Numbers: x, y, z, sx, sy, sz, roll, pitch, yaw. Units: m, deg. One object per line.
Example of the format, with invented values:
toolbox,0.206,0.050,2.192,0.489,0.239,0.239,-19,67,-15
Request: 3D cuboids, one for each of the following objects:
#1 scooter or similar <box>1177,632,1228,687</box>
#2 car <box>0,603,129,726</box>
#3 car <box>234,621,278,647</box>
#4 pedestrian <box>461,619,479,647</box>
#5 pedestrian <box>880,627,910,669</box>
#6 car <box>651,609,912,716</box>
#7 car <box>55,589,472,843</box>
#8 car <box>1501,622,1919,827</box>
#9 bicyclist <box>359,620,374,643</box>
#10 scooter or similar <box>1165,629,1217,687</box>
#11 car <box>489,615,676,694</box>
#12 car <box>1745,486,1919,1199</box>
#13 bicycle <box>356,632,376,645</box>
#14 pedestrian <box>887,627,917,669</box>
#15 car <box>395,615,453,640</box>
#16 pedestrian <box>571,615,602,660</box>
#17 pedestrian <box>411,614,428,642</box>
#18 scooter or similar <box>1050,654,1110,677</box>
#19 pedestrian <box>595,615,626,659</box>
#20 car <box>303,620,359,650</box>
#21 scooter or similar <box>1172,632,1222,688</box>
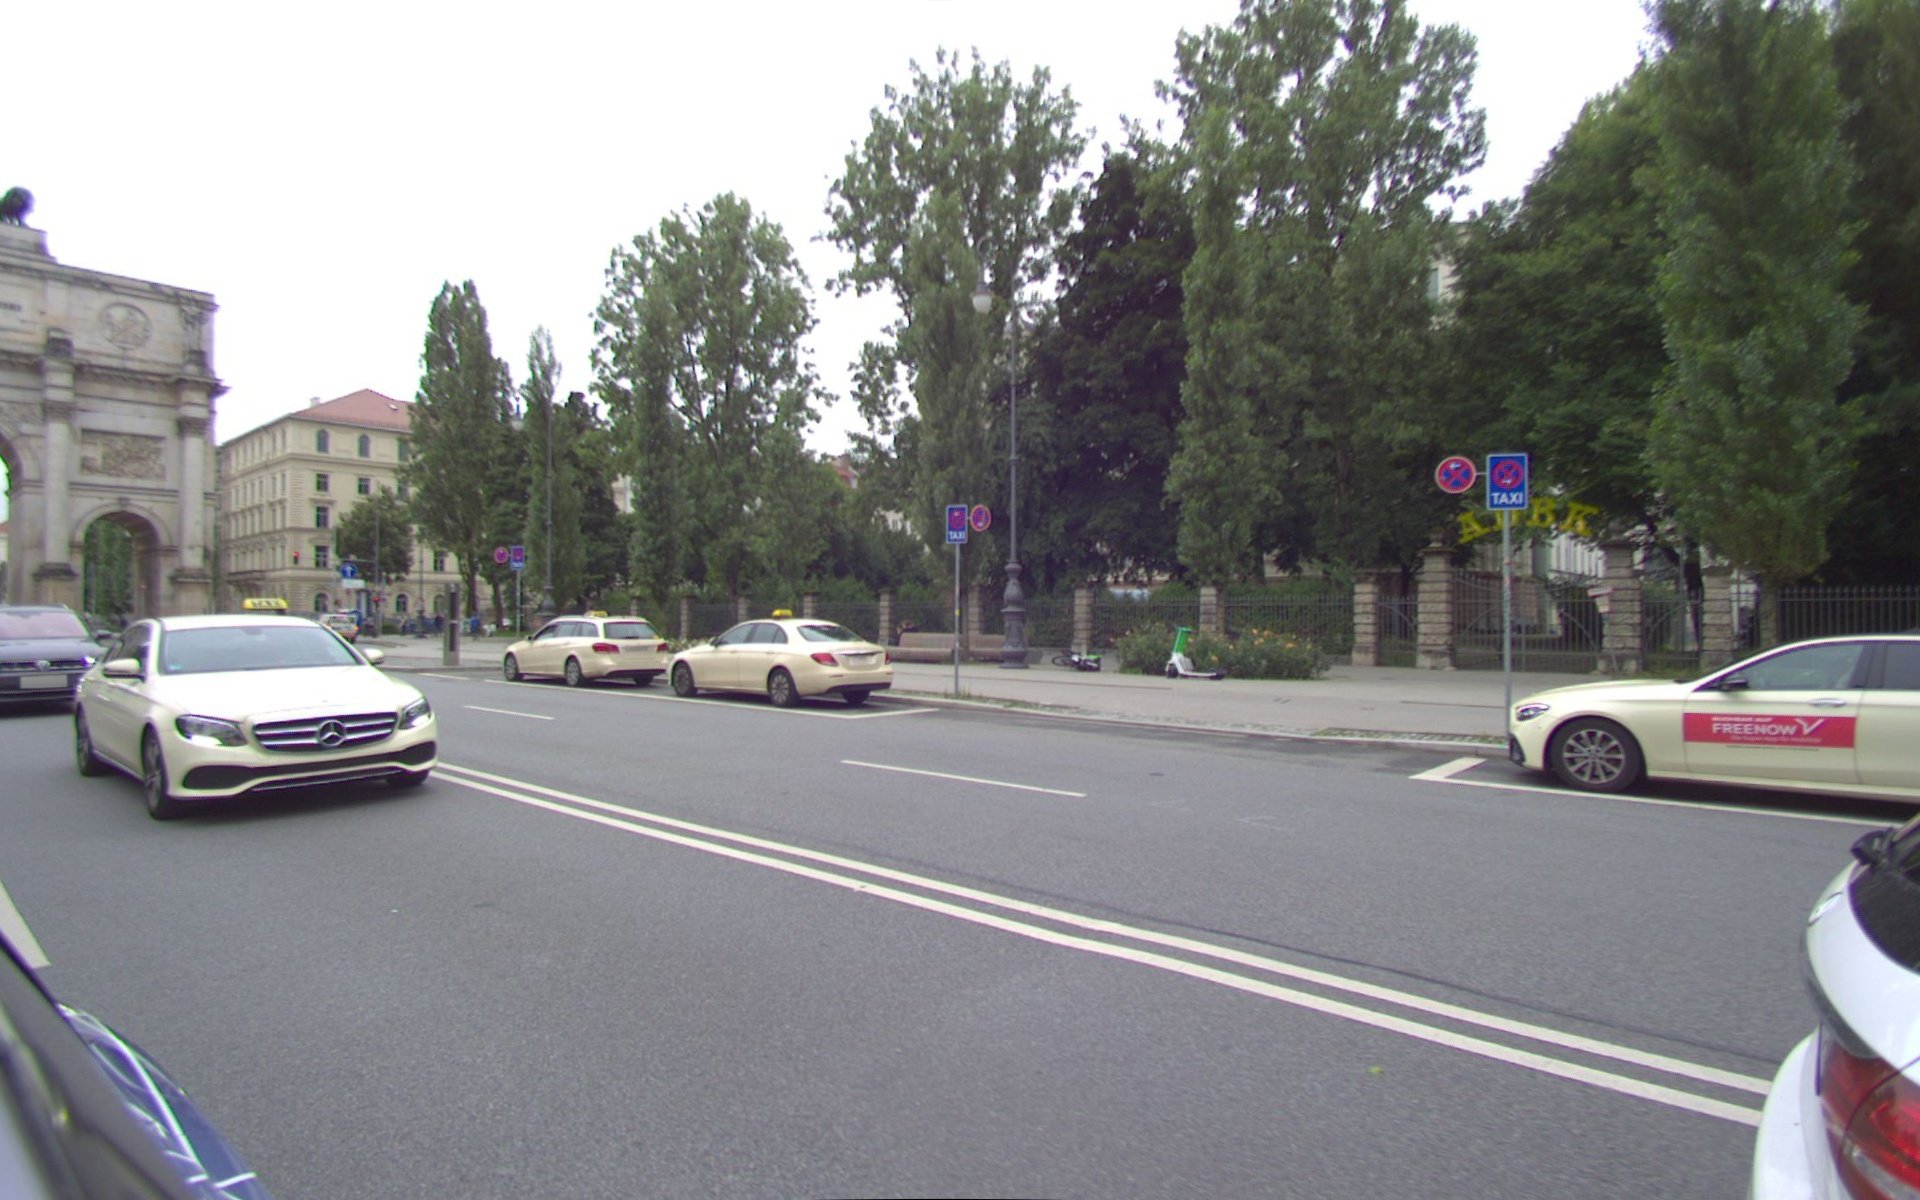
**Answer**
scooter or similar,5.467,1.335,22.833,1.122,1.210,0.240,-1,-2,42
car,-14.460,0.909,15.554,4.410,1.636,1.928,-1,1,42
car,-46.367,2.203,66.608,1.760,1.684,4.003,1,-2,-44
pedestrian,-32.121,2.167,66.346,0.745,1.799,0.914,0,-2,5
pedestrian,-2.088,1.551,32.698,0.832,1.347,0.574,-1,-2,16
car,-3.303,1.011,18.075,4.963,1.637,1.917,0,-2,42
car,-6.169,0.752,8.713,4.688,1.587,1.894,-1,1,42
car,7.416,0.949,8.449,4.789,1.508,1.910,-2,-3,43
bicyclist,-44.614,2.366,76.066,0.858,1.723,0.636,-1,-2,35
scooter or similar,5.113,1.281,22.441,1.141,1.251,0.255,-1,-2,43
car,-8.513,1.162,22.604,4.857,1.571,1.799,-1,-3,41
car,3.135,0.592,0.221,4.581,1.465,1.806,-1,0,42
bicycle,-44.707,2.911,76.128,1.758,0.981,0.636,-1,-2,36
pedestrian,-1.903,1.577,33.312,0.832,1.347,0.574,-1,-2,15
car,-45.135,2.329,85.267,1.999,2.029,3.945,-1,-2,41
pedestrian,-14.374,1.421,38.926,0.834,1.691,0.968,1,-2,-42
pedestrian,-39.390,2.064,73.732,0.747,2.029,0.793,0,-1,7
scooter or similar,3.144,1.716,26.734,1.314,0.522,2.236,0,-2,1
pedestrian,-13.571,1.416,39.306,0.834,1.691,0.968,1,-2,-42
car,-42.060,2.303,67.623,4.992,1.869,1.977,0,-2,44
scooter or similar,5.292,1.335,22.639,1.122,1.210,0.240,-1,-2,42
